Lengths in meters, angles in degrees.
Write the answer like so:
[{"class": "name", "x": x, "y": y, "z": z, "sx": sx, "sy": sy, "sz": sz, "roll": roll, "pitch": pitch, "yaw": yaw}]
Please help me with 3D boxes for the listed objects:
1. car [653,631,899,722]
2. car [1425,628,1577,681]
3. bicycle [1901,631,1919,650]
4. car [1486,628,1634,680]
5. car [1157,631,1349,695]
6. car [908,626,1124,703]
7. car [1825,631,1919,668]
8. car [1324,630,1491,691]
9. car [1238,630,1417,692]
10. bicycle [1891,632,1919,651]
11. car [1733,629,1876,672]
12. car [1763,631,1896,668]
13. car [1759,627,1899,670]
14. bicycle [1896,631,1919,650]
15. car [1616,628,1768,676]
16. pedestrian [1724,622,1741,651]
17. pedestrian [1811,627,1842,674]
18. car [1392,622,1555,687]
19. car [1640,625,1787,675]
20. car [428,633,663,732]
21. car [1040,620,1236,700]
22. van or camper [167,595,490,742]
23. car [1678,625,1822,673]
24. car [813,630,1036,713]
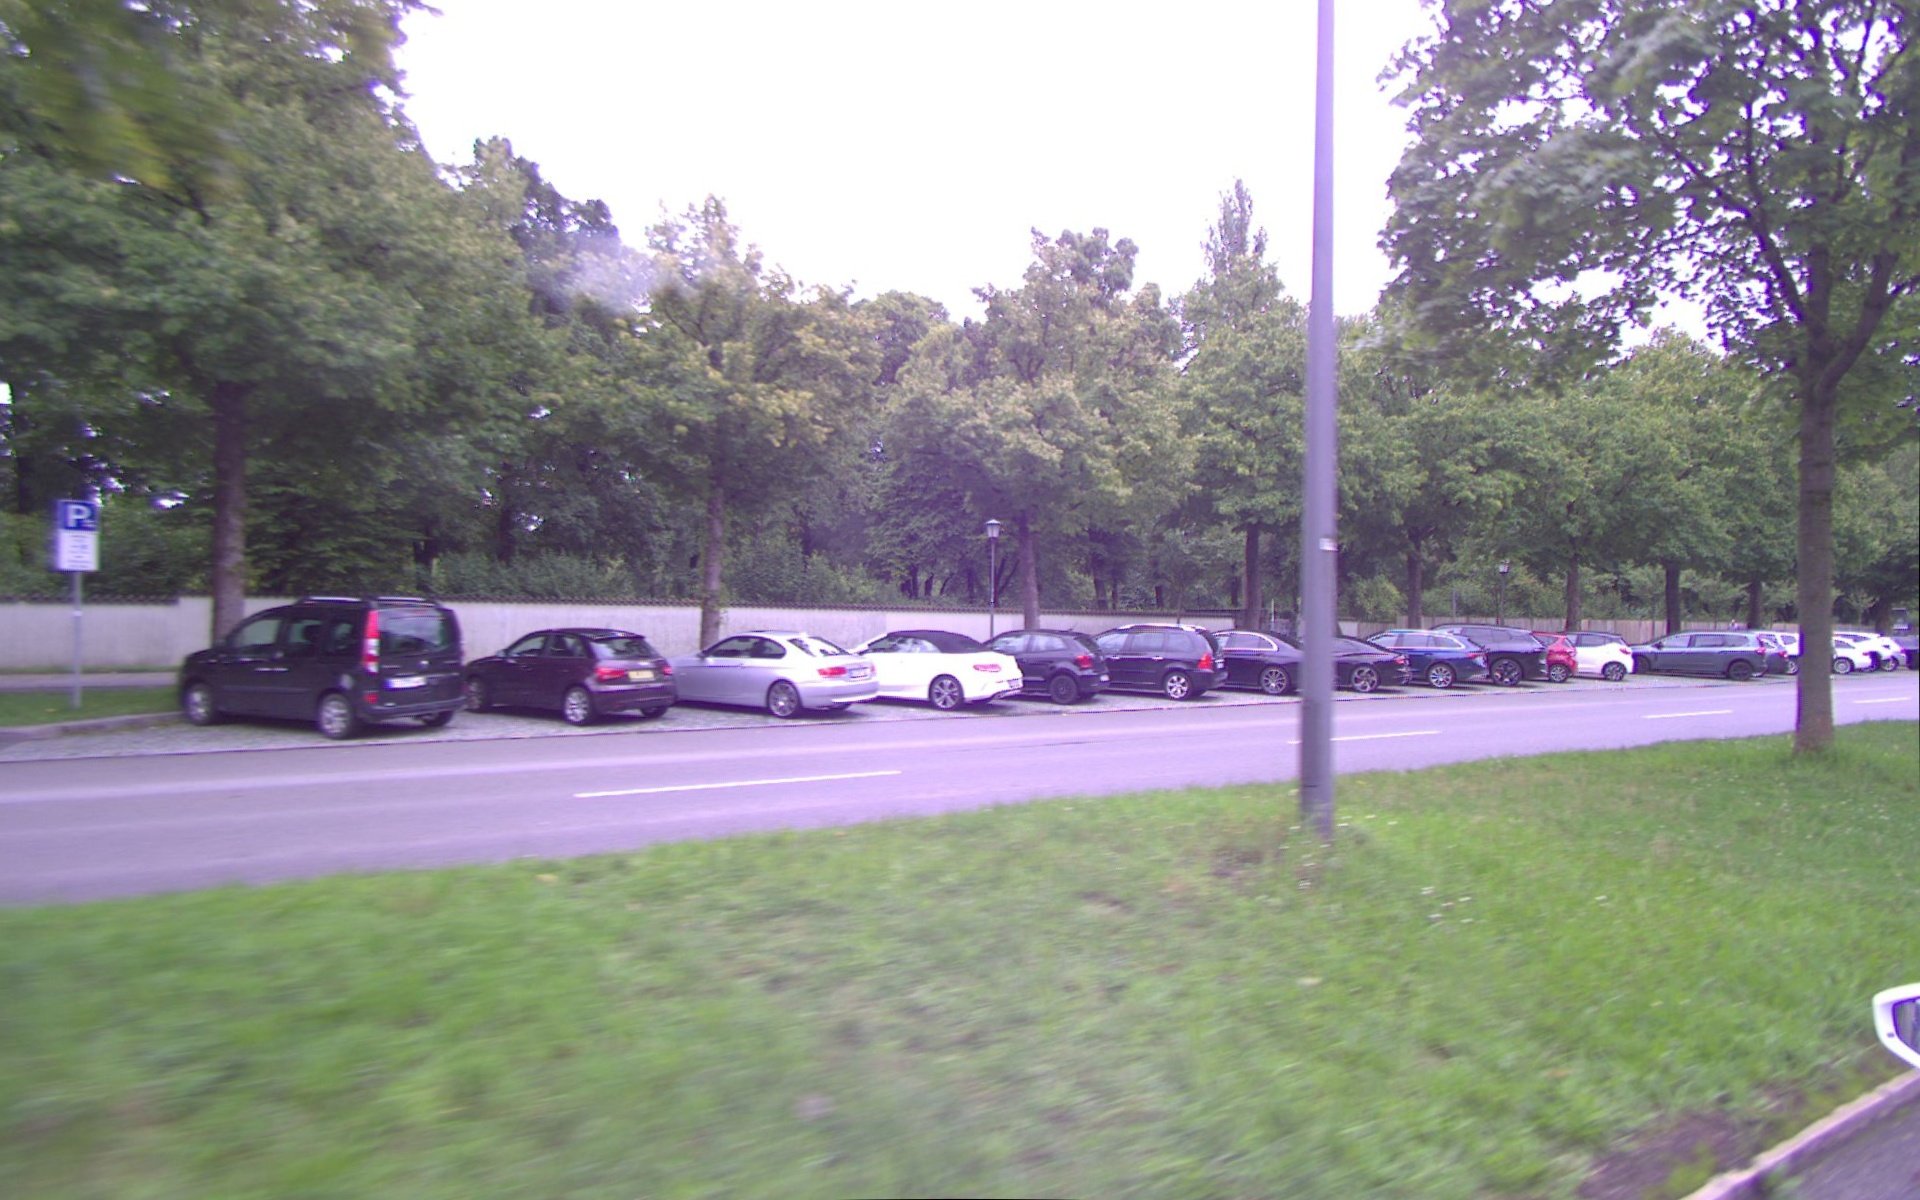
[{"class": "car", "x": -3.234, "y": 1.268, "z": 17.639, "sx": 3.925, "sy": 1.372, "sz": 1.849, "roll": 0, "pitch": -1, "yaw": 26}, {"class": "car", "x": 16.764, "y": 1.640, "z": 31.199, "sx": 4.035, "sy": 1.521, "sz": 1.916, "roll": 0, "pitch": -1, "yaw": 30}, {"class": "bicycle", "x": 62.366, "y": 2.641, "z": 64.684, "sx": 0.698, "sy": 1.159, "sz": 2.490, "roll": 1, "pitch": 0, "yaw": -27}, {"class": "car", "x": 19.459, "y": 1.711, "z": 32.736, "sx": 4.035, "sy": 1.521, "sz": 1.916, "roll": 0, "pitch": -1, "yaw": 30}, {"class": "car", "x": 7.007, "y": 1.448, "z": 24.057, "sx": 4.125, "sy": 1.340, "sz": 1.917, "roll": 0, "pitch": -1, "yaw": 27}, {"class": "car", "x": 1.198, "y": 1.300, "z": 21.139, "sx": 4.157, "sy": 1.441, "sz": 1.919, "roll": 0, "pitch": -1, "yaw": 20}, {"class": "car", "x": 41.360, "y": 2.191, "z": 44.695, "sx": 4.032, "sy": 1.493, "sz": 1.703, "roll": 1, "pitch": -1, "yaw": 28}, {"class": "car", "x": 12.171, "y": 1.586, "z": 27.365, "sx": 4.032, "sy": 1.489, "sz": 1.917, "roll": 0, "pitch": -1, "yaw": 27}, {"class": "car", "x": 9.407, "y": 1.503, "z": 25.749, "sx": 4.121, "sy": 1.428, "sz": 1.917, "roll": 0, "pitch": -1, "yaw": 27}, {"class": "bicycle", "x": 61.048, "y": 2.641, "z": 63.976, "sx": 0.593, "sy": 1.159, "sz": 2.490, "roll": 1, "pitch": 0, "yaw": -27}, {"class": "car", "x": 33.584, "y": 1.968, "z": 40.100, "sx": 4.032, "sy": 1.606, "sz": 1.917, "roll": 0, "pitch": -1, "yaw": 27}, {"class": "car", "x": 37.842, "y": 2.112, "z": 43.866, "sx": 4.032, "sy": 1.493, "sz": 1.917, "roll": 0, "pitch": -1, "yaw": 27}, {"class": "car", "x": 36.080, "y": 1.996, "z": 41.847, "sx": 4.032, "sy": 1.674, "sz": 1.917, "roll": 0, "pitch": -1, "yaw": 27}, {"class": "bicycle", "x": 61.734, "y": 2.629, "z": 64.332, "sx": 0.646, "sy": 1.159, "sz": 2.490, "roll": 1, "pitch": 0, "yaw": -27}, {"class": "car", "x": 25.514, "y": 1.777, "z": 35.215, "sx": 4.113, "sy": 1.563, "sz": 1.916, "roll": 0, "pitch": -1, "yaw": 30}, {"class": "pedestrian", "x": 43.307, "y": 2.028, "z": 56.341, "sx": 0.668, "sy": 1.633, "sz": 0.691, "roll": 0, "pitch": -1, "yaw": 30}, {"class": "pedestrian", "x": 30.955, "y": 1.787, "z": 35.874, "sx": 0.674, "sy": 1.633, "sz": 0.719, "roll": 1, "pitch": -1, "yaw": -37}, {"class": "car", "x": 14.623, "y": 1.497, "z": 28.770, "sx": 4.032, "sy": 1.702, "sz": 1.917, "roll": 0, "pitch": -1, "yaw": 27}, {"class": "car", "x": 27.568, "y": 1.798, "z": 36.931, "sx": 4.032, "sy": 1.718, "sz": 1.917, "roll": 0, "pitch": -1, "yaw": 27}, {"class": "car", "x": -6.721, "y": 1.255, "z": 16.253, "sx": 3.517, "sy": 1.372, "sz": 1.750, "roll": 0, "pitch": -1, "yaw": 31}, {"class": "car", "x": 3.990, "y": 1.282, "z": 22.441, "sx": 4.028, "sy": 1.618, "sz": 1.919, "roll": 0, "pitch": -1, "yaw": 22}, {"class": "van or camper", "x": -9.086, "y": 0.896, "z": 14.500, "sx": 4.044, "sy": 1.879, "sz": 1.850, "roll": 0, "pitch": -1, "yaw": 20}, {"class": "car", "x": 30.279, "y": 1.849, "z": 38.660, "sx": 4.032, "sy": 1.718, "sz": 1.917, "roll": 0, "pitch": -1, "yaw": 27}, {"class": "car", "x": -0.700, "y": 1.316, "z": 19.358, "sx": 3.967, "sy": 1.400, "sz": 1.673, "roll": 0, "pitch": -1, "yaw": 25}]
